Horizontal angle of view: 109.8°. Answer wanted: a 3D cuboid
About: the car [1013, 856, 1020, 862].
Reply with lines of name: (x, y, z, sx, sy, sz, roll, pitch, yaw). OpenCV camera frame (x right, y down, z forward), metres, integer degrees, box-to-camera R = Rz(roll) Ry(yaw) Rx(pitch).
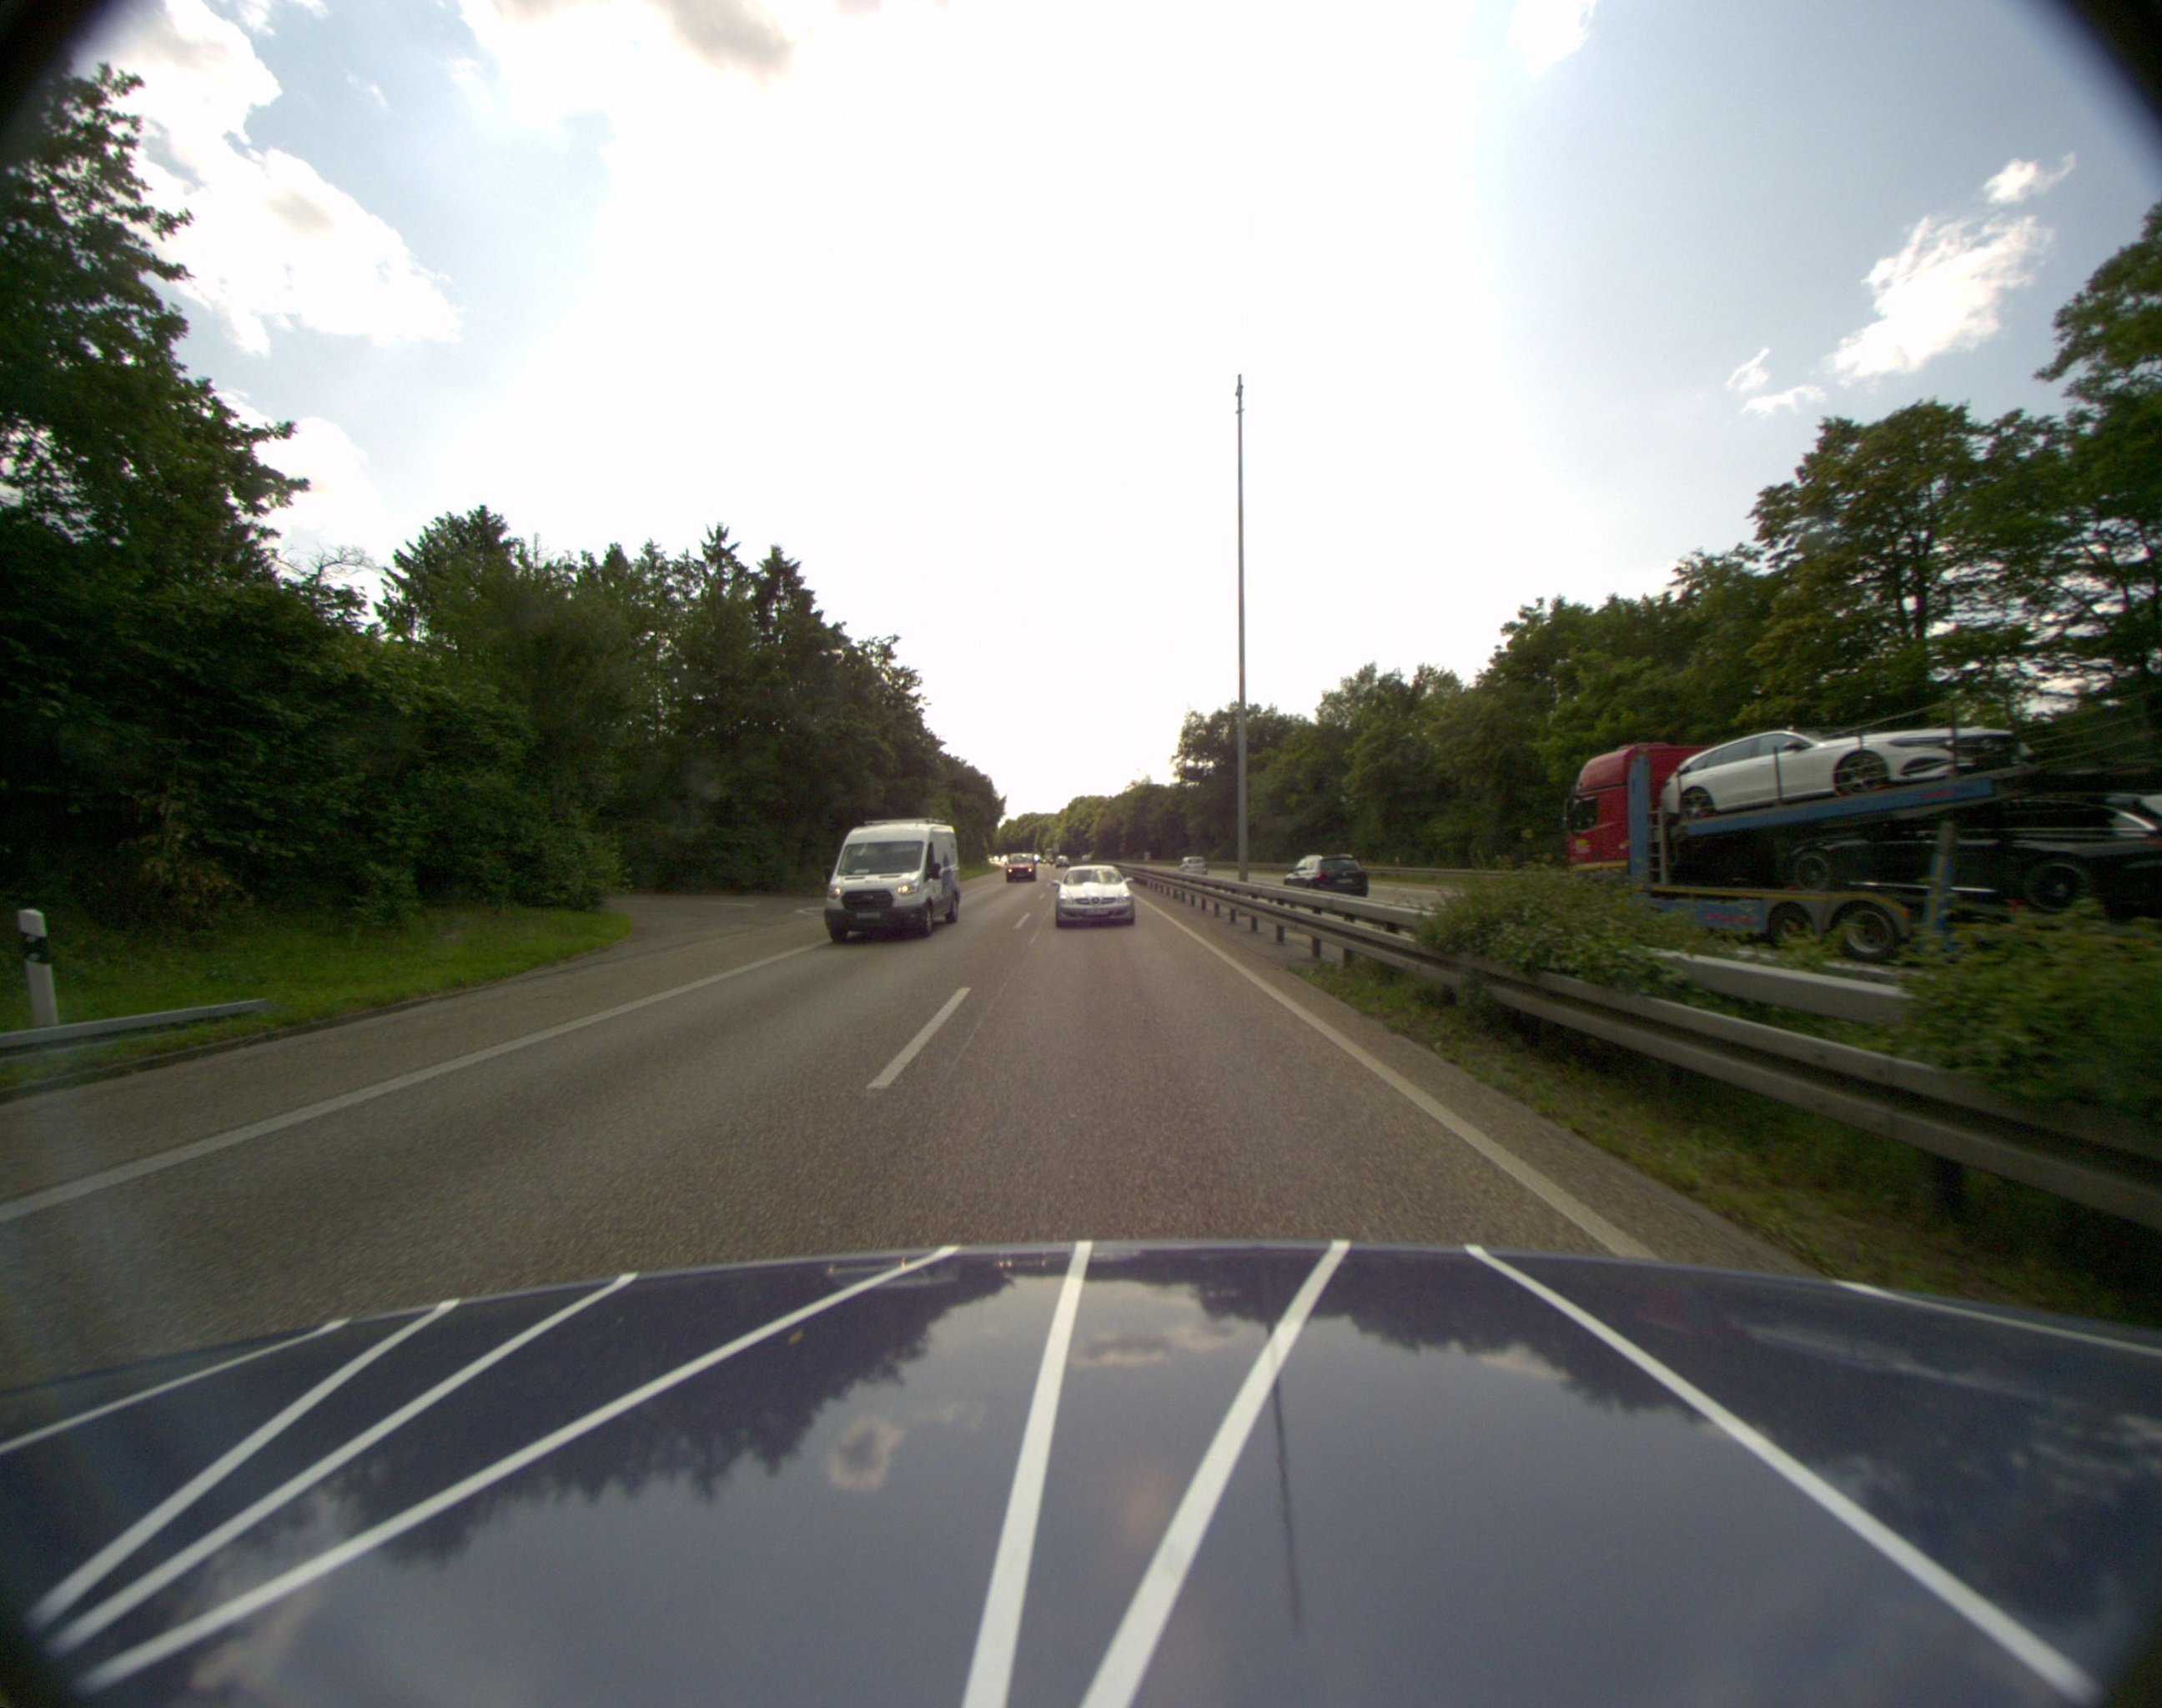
car: (-15.743, 1.259, 185.511, 1.786, 1.512, 3.998, -1, 0, -5)

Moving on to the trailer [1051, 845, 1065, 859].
trailer: (-7.149, -0.776, 237.934, 3.414, 4.056, 12.971, -2, 1, -5)

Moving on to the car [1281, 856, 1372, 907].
car: (8.251, 0.867, 25.927, 1.678, 1.542, 4.262, 0, 0, 0)

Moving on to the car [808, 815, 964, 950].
car: (-4.114, 0.541, 17.113, 2.104, 2.493, 5.278, -2, 0, -1)

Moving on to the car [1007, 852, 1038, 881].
car: (-3.953, 0.819, 51.135, 1.909, 1.795, 4.393, -2, 0, -4)

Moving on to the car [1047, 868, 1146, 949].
car: (0.306, 1.052, 16.550, 1.751, 1.295, 5.223, -2, 0, 0)

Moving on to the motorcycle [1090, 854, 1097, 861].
motorcycle: (2.138, 0.544, 128.611, 1.002, 1.194, 2.997, -1, 0, -2)

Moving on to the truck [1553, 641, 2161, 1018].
truck: (12.470, -0.275, 12.498, 2.962, 3.833, 10.322, 0, 0, 0)

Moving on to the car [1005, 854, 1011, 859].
car: (-22.009, 0.856, 229.695, 1.786, 1.512, 3.997, -1, 0, -8)

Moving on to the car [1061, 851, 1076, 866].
car: (-1.673, 0.561, 101.714, 1.999, 2.002, 3.999, -1, 0, -1)

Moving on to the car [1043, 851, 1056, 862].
car: (-6.115, 0.520, 146.736, 2.000, 2.002, 3.997, -1, 0, -8)

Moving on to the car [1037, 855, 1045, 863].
car: (-8.832, 1.124, 167.376, 1.700, 1.579, 3.997, -1, 0, -6)

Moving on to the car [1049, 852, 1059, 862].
car: (-4.612, 0.482, 128.644, 1.473, 1.560, 3.293, -1, 0, -5)

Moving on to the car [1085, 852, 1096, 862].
car: (1.811, 0.519, 145.749, 1.850, 1.808, 5.476, -1, 0, -3)

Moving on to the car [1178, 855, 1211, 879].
car: (8.082, 0.910, 54.335, 1.710, 1.559, 4.031, -1, 0, -1)
